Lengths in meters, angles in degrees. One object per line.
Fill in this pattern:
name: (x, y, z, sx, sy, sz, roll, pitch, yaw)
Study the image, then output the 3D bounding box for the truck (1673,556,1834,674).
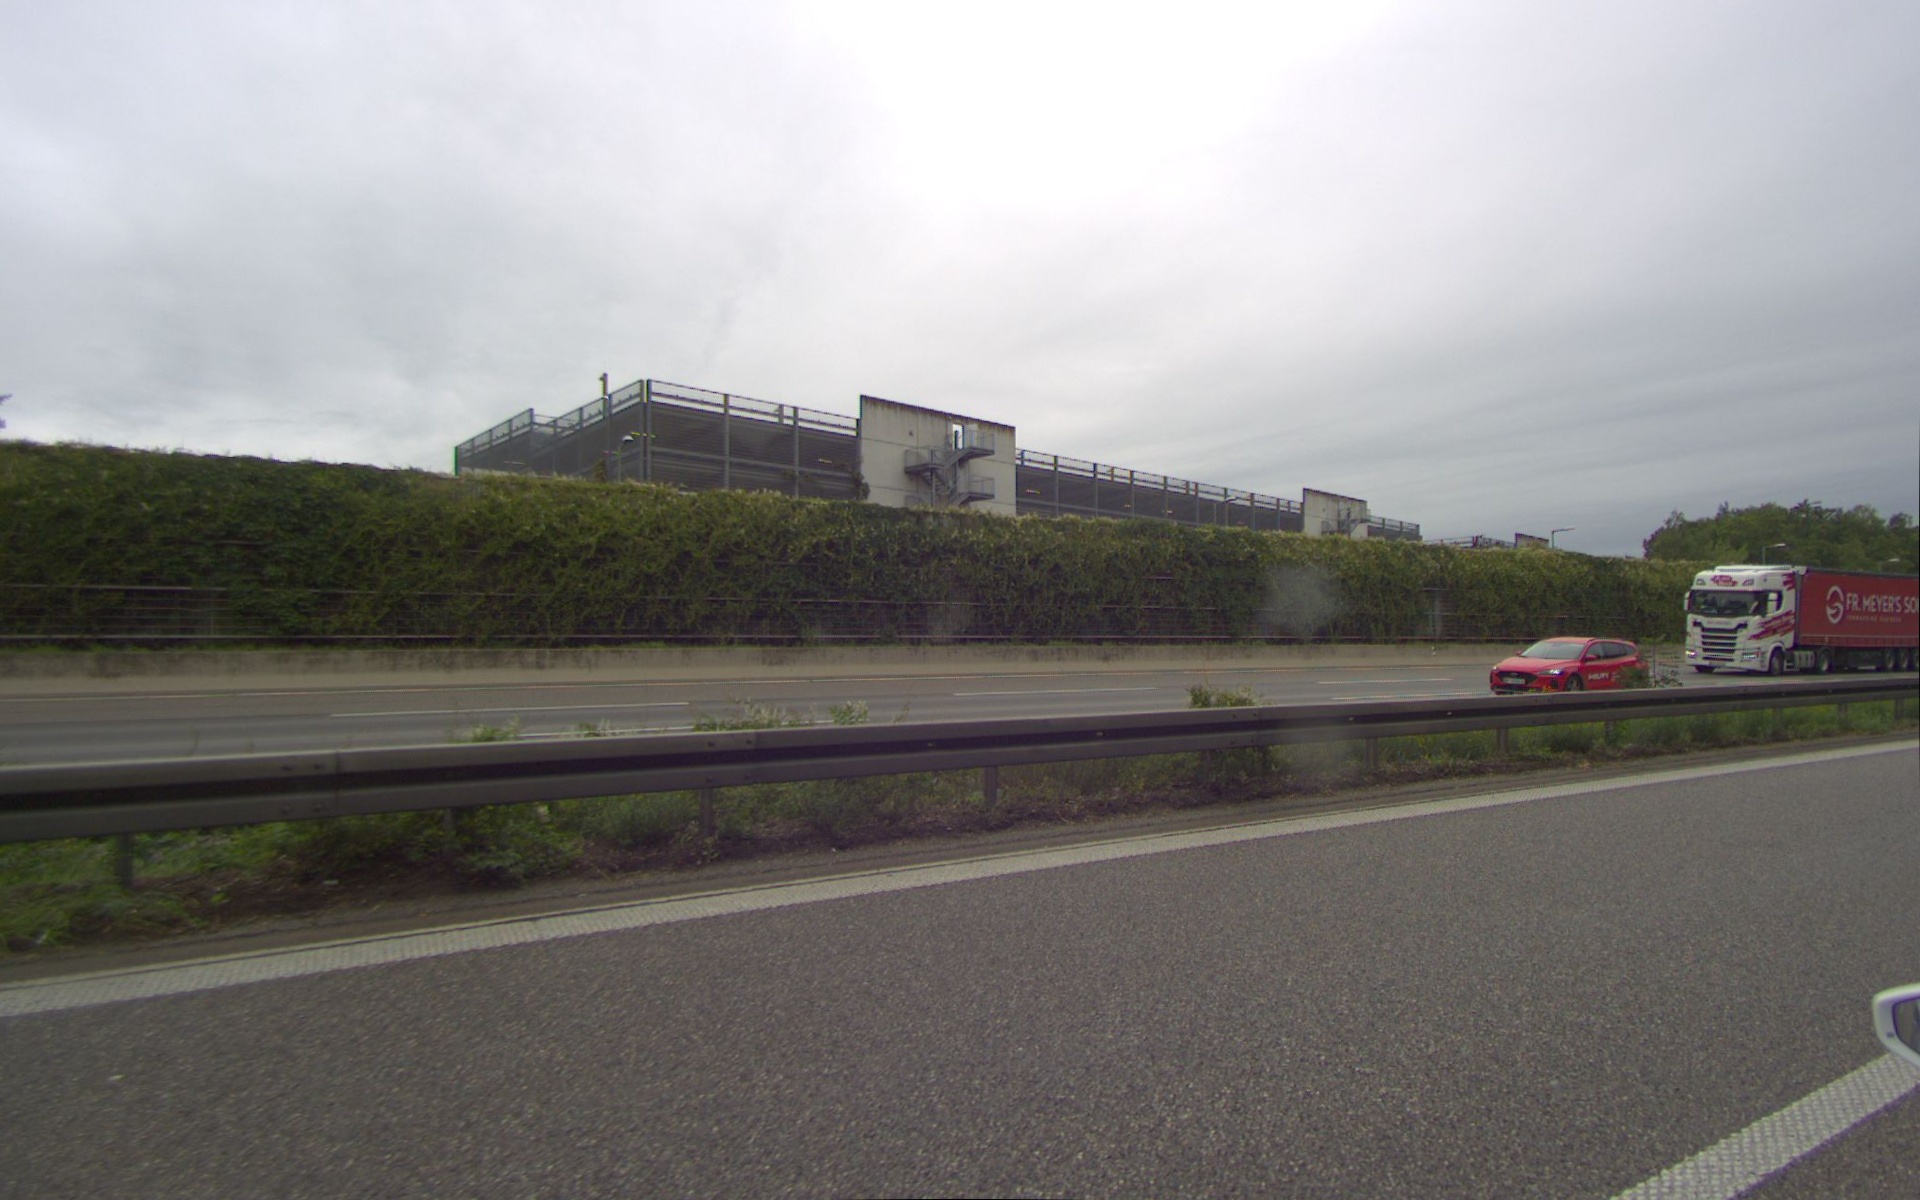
truck: (30.174, 0.604, 38.194, 5.841, 4.182, 2.658, 1, -1, -27)

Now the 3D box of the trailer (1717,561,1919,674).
trailer: (36.420, 0.750, 41.576, 13.516, 4.182, 2.734, 1, -1, -28)

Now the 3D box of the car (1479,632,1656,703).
car: (15.026, 1.624, 24.780, 4.663, 1.590, 1.763, 2, -1, -31)
